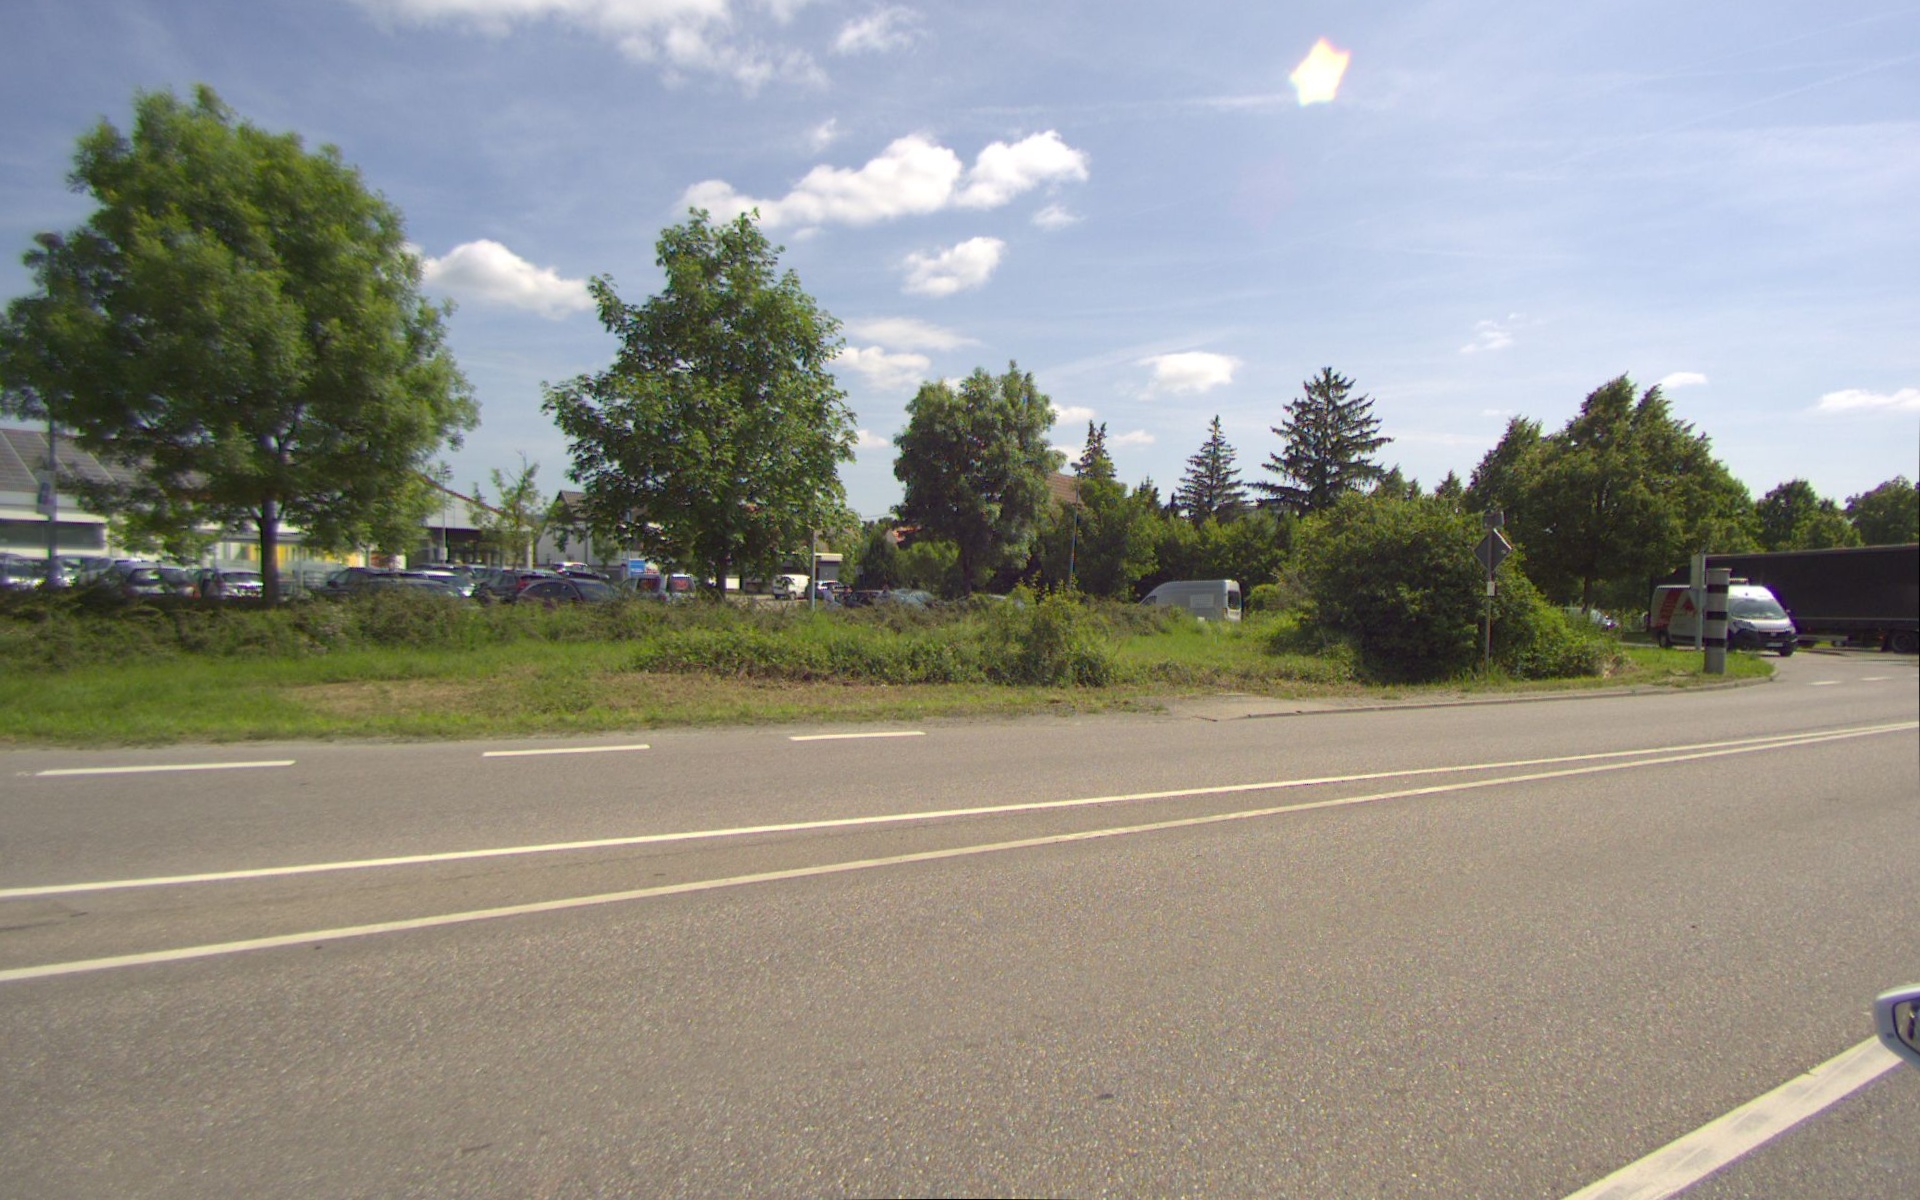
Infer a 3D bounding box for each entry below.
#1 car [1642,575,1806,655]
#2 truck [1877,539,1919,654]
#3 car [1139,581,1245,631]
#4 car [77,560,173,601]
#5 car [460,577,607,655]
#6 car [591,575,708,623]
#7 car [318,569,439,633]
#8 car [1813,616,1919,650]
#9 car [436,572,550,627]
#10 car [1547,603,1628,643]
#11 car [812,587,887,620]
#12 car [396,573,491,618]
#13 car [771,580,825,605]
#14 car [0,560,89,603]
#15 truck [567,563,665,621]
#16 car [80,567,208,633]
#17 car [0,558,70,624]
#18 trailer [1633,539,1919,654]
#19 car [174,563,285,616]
[{"bbox_3d":[28.028,0.527,37.177,2.081,2.690,5.989,0,0,7],"label":"car"},{"bbox_3d":[36.065,-0.110,34.790,2.749,4.116,5.830,0,1,-12],"label":"truck"},{"bbox_3d":[11.127,0.272,48.330,4.525,2.209,1.992,2,1,37],"label":"car"},{"bbox_3d":[-32.559,-0.755,39.136,3.933,1.461,1.880,2,1,35],"label":"car"},{"bbox_3d":[-10.202,0.341,23.902,3.942,1.679,1.685,2,0,42],"label":"car"},{"bbox_3d":[-11.886,-0.042,38.343,4.354,1.717,1.994,1,0,34],"label":"car"},{"bbox_3d":[-17.417,0.009,30.044,3.940,1.697,1.903,3,1,40],"label":"car"},{"bbox_3d":[43.903,1.563,48.320,1.966,1.448,3.989,2,0,-14],"label":"car"},{"bbox_3d":[-15.444,-0.030,33.153,3.940,1.711,1.917,2,0,40],"label":"car"},{"bbox_3d":[29.769,1.071,47.763,1.834,1.773,4.113,2,0,10],"label":"car"},{"bbox_3d":[-6.063,0.214,55.442,1.883,1.662,3.984,2,0,38],"label":"car"},{"bbox_3d":[-19.087,-0.169,37.050,3.941,1.549,1.770,2,0,41],"label":"car"},{"bbox_3d":[-12.538,-0.578,77.872,1.867,1.782,3.987,2,0,35],"label":"car"},{"bbox_3d":[-33.989,-0.689,37.059,3.933,1.461,1.880,2,1,35],"label":"car"},{"bbox_3d":[-14.883,-0.361,43.389,3.933,2.397,1.994,2,0,34],"label":"truck"},{"bbox_3d":[-21.431,-0.028,26.344,4.082,1.522,1.775,3,1,39],"label":"car"},{"bbox_3d":[-26.099,-0.294,27.464,4.354,1.698,1.858,2,1,38],"label":"car"},{"bbox_3d":[34.891,-0.185,41.919,2.747,4.116,13.707,0,1,-9],"label":"trailer"},{"bbox_3d":[-23.061,-0.337,31.686,3.936,1.549,1.772,2,0,38],"label":"car"}]
